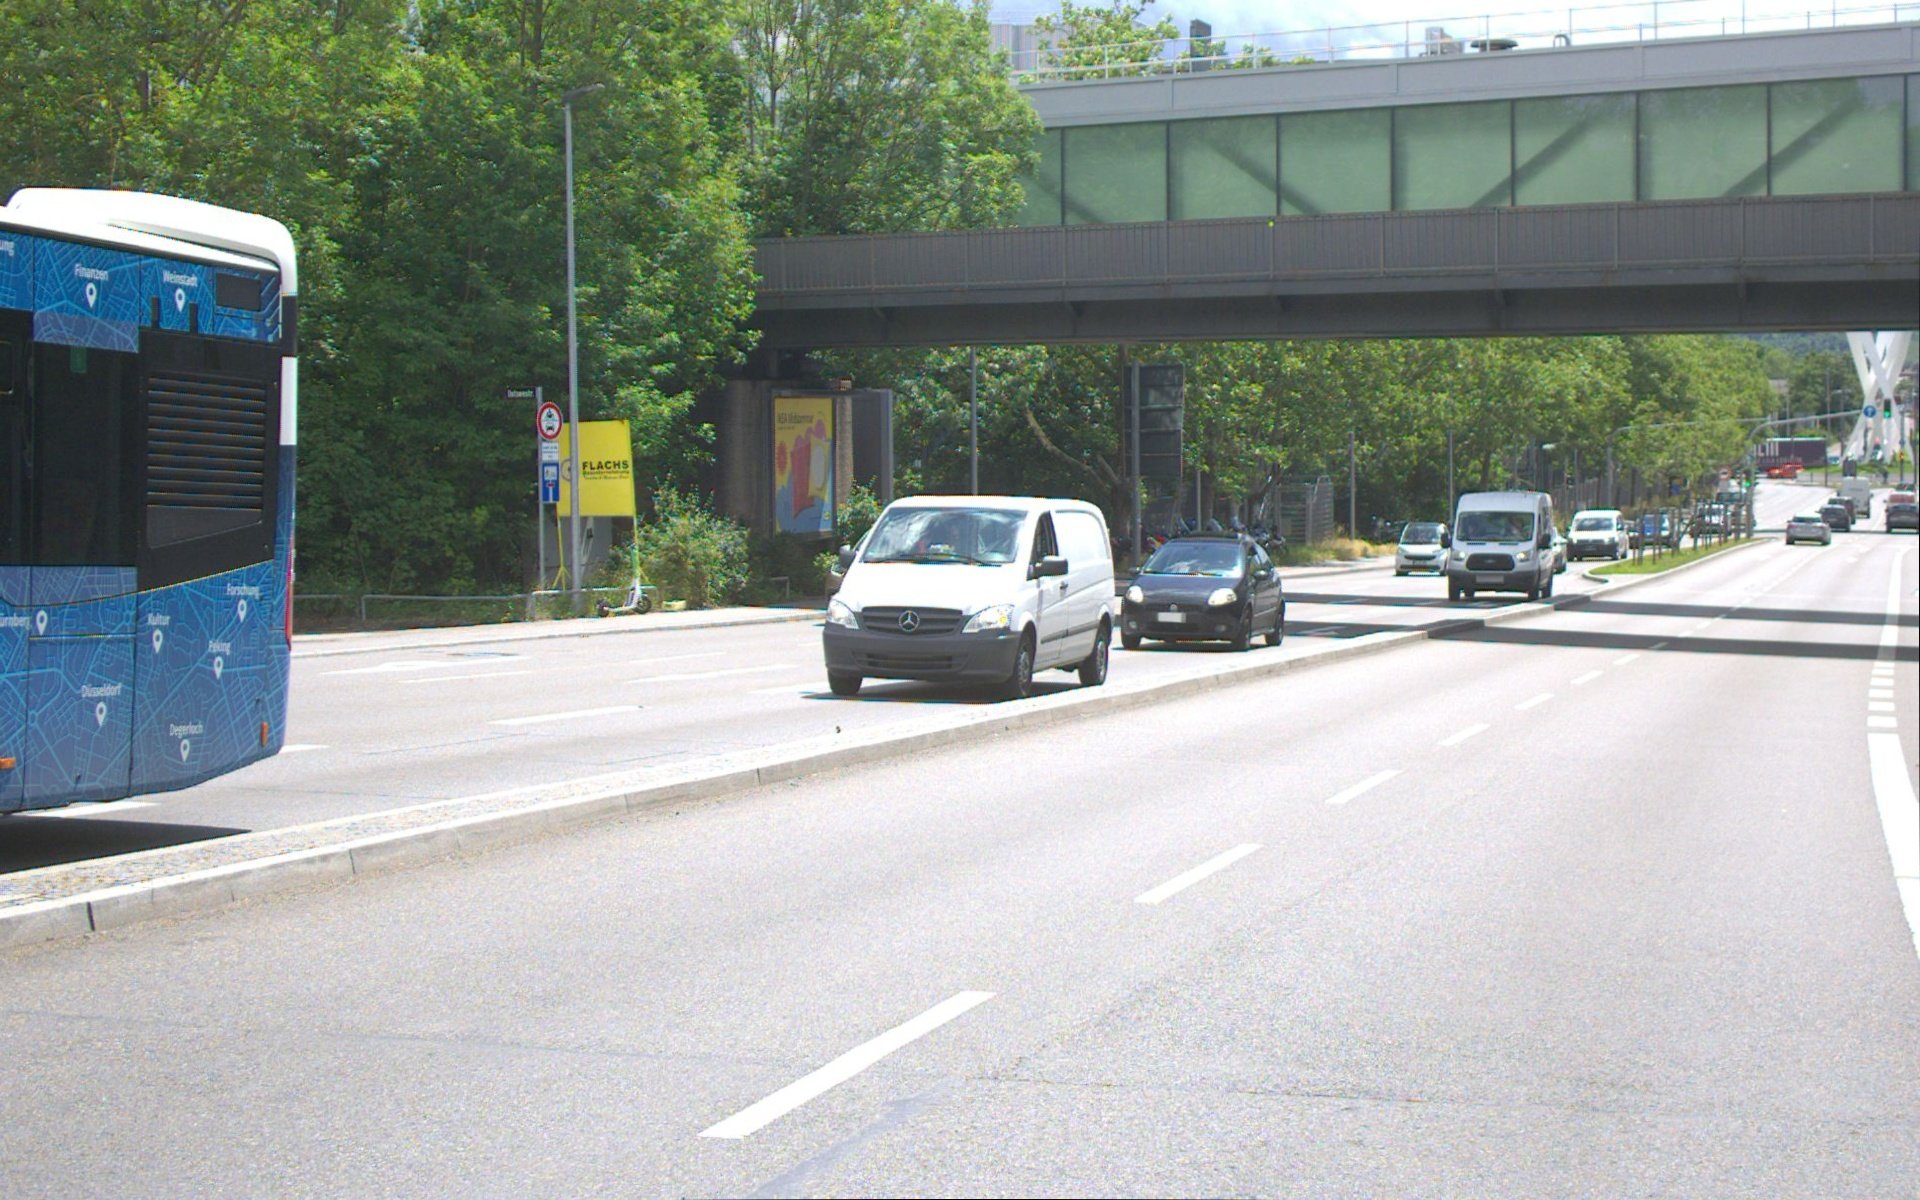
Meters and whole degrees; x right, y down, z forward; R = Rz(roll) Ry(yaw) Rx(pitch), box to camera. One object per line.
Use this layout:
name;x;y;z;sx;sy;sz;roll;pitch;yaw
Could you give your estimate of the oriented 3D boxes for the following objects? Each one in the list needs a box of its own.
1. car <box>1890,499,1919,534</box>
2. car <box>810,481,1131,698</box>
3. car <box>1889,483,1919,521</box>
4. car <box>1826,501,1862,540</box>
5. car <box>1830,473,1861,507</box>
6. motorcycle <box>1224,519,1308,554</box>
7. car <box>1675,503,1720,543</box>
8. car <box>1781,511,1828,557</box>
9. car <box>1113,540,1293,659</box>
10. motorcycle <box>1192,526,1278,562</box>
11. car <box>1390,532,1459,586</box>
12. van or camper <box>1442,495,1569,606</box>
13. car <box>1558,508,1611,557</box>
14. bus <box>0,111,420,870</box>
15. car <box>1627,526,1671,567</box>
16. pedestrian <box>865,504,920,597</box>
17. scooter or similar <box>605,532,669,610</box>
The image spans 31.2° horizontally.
car;51.122;-4.466;184.998;1.995;1.853;3.998;1;1;15
car;0.196;-0.156;33.337;1.878;1.918;4.747;1;2;16
car;57.072;-5.933;207.034;1.995;2.006;3.998;1;6;18
car;47.821;-4.313;186.051;1.859;1.699;3.999;1;7;14
car;57.535;-7.162;223.325;1.875;2.006;3.691;1;5;15
motorcycle;9.895;-2.056;111.328;2.581;1.103;0.793;2;1;28
car;37.890;-3.956;176.563;1.995;2.007;3.997;1;2;15
car;38.207;-3.002;155.544;1.931;1.765;3.998;1;6;16
car;3.305;-0.045;46.171;1.638;1.466;3.773;1;2;16
motorcycle;8.678;-1.777;108.494;2.581;1.103;0.793;2;1;28
car;13.823;-1.229;102.154;1.701;1.545;3.922;1;1;12
van or camper;12.383;-1.136;77.674;2.010;2.393;6.394;1;1;16
car;22.310;-2.417;122.729;1.701;1.692;3.922;1;1;12
bus;-5.465;-0.474;14.232;2.818;3.153;8.901;2;2;16
car;29.872;-2.334;149.026;1.702;1.692;3.922;1;1;14
pedestrian;-1.239;-0.914;63.295;0.725;1.617;0.720;6;6;14
scooter or similar;-5.099;-0.467;54.311;0.612;1.207;1.260;1;1;15
